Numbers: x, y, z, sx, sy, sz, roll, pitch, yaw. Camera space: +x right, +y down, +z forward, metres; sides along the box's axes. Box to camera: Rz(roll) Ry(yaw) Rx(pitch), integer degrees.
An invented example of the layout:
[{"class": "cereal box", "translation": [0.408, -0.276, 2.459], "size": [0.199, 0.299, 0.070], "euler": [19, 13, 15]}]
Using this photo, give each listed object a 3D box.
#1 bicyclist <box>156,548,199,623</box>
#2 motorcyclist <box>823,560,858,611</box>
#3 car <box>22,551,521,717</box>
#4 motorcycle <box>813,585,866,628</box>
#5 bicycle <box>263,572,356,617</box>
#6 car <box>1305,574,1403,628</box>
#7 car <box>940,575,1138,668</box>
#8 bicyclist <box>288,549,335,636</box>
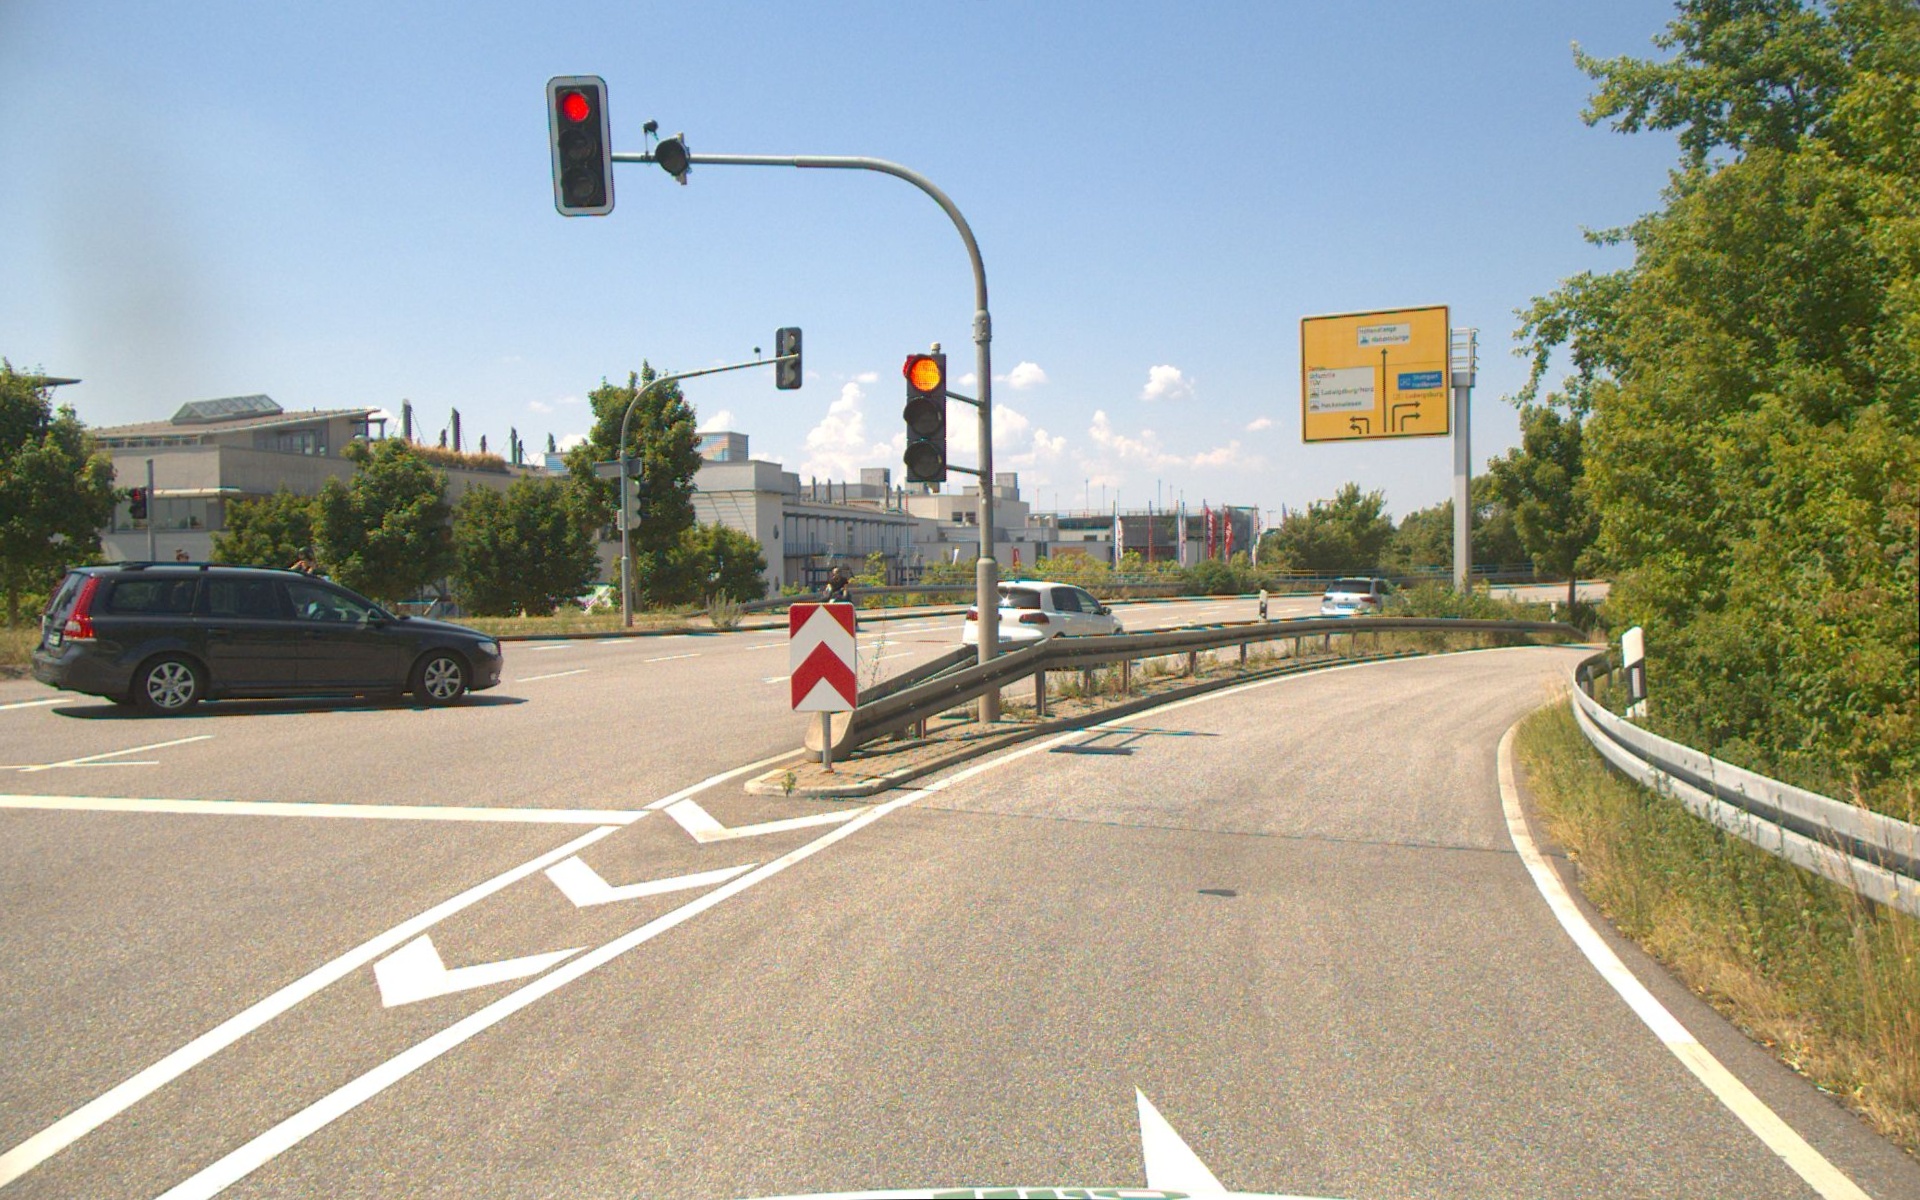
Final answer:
[{"class": "bicyclist", "translation": [-15.170, -0.280, 32.073], "size": [0.398, 1.428, 0.685], "euler": [1, 0, 8]}, {"class": "motorcyclist", "translation": [-3.146, -0.375, 43.700], "size": [0.660, 1.325, 0.724], "euler": [-2, 0, 19]}, {"class": "car", "translation": [-7.268, 0.317, 17.798], "size": [4.692, 1.572, 1.711], "euler": [0, 0, -41]}, {"class": "motorcycle", "translation": [-3.158, 0.153, 43.634], "size": [0.550, 1.099, 2.285], "euler": [-1, 0, 19]}, {"class": "bicycle", "translation": [-13.326, -0.124, 33.936], "size": [0.522, 0.867, 2.128], "euler": [2, 1, 18]}, {"class": "car", "translation": [12.026, 0.015, 50.294], "size": [1.954, 1.531, 4.392], "euler": [-2, 0, 26]}, {"class": "car", "translation": [1.497, 0.348, 29.666], "size": [1.956, 1.512, 4.129], "euler": [1, 0, 28]}, {"class": "bicyclist", "translation": [-13.318, -0.157, 33.964], "size": [0.519, 1.747, 0.731], "euler": [2, 1, 18]}]
